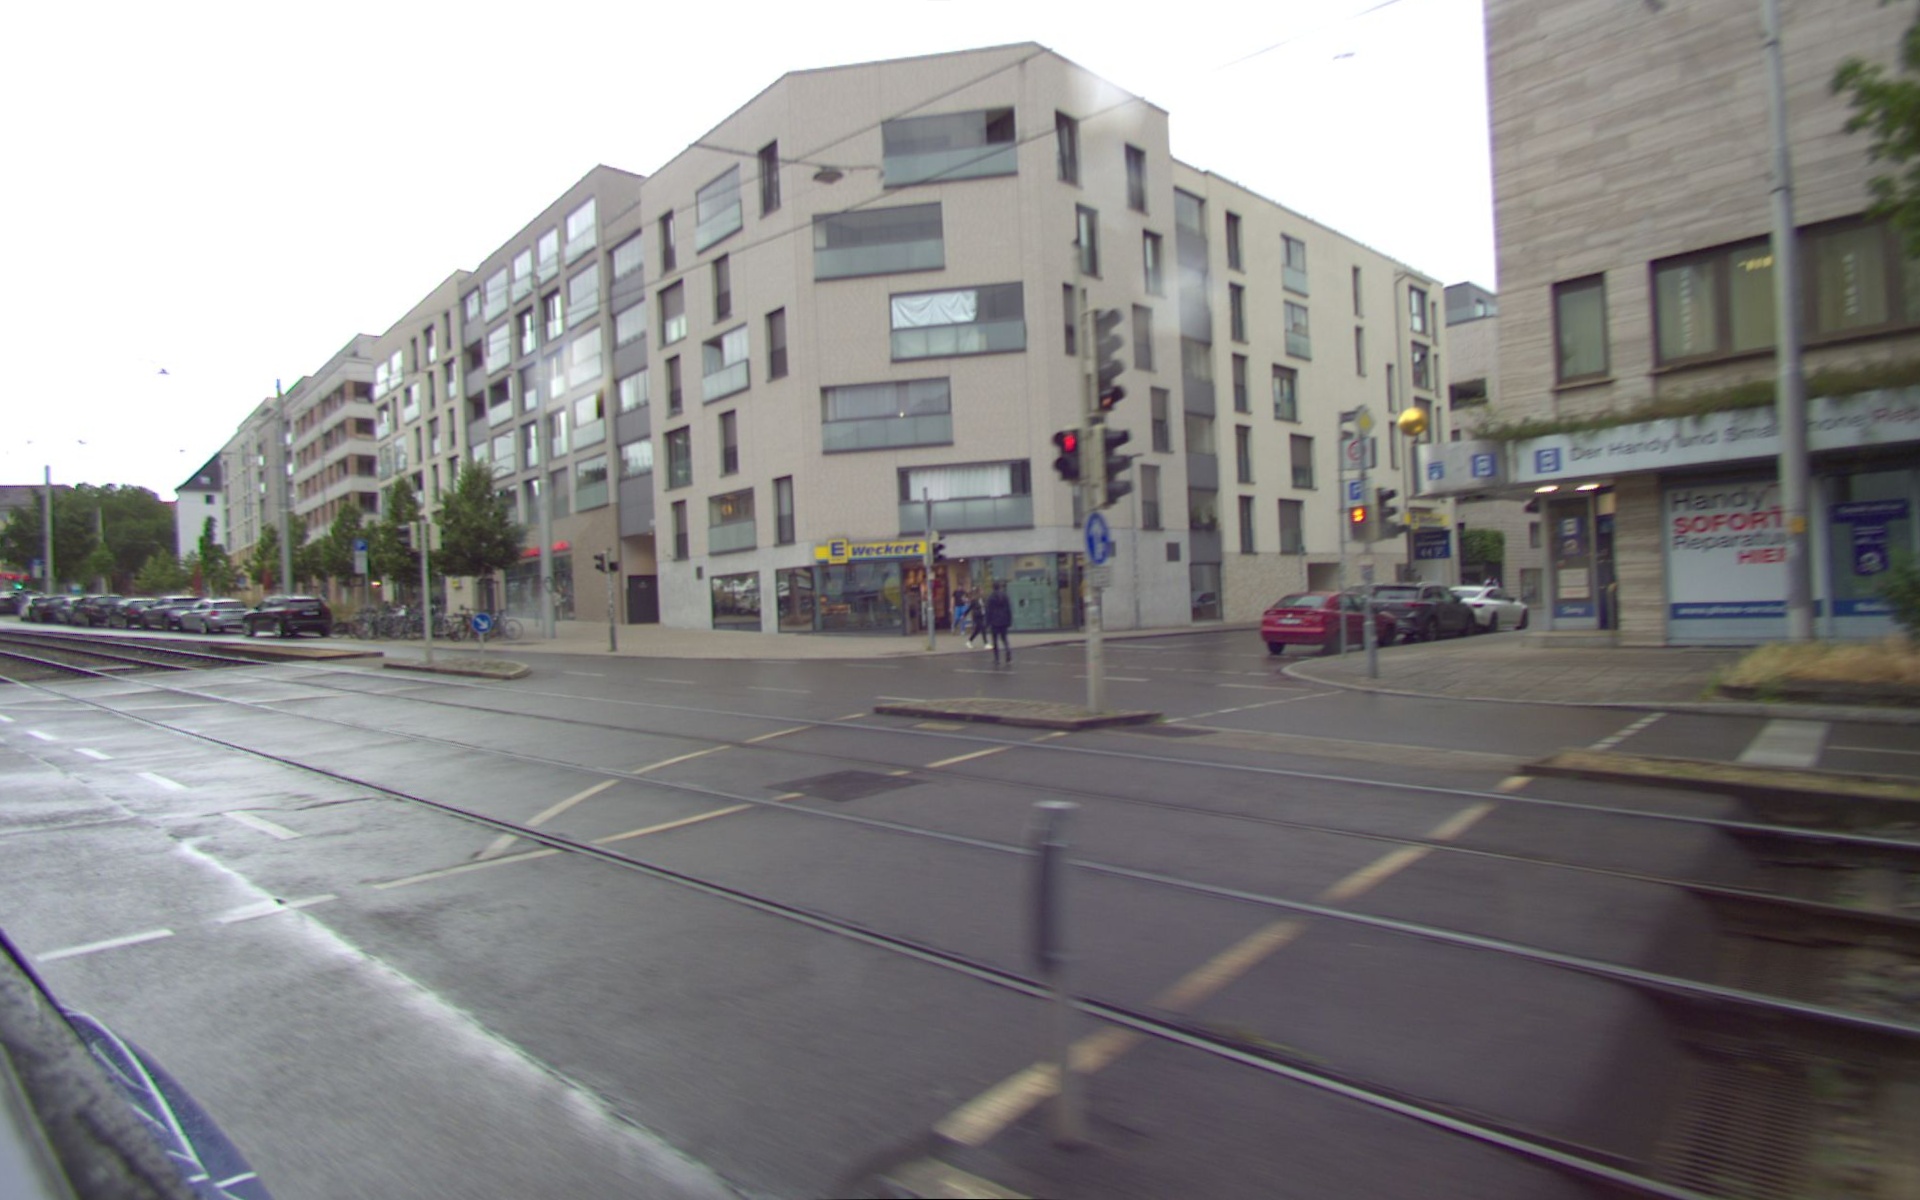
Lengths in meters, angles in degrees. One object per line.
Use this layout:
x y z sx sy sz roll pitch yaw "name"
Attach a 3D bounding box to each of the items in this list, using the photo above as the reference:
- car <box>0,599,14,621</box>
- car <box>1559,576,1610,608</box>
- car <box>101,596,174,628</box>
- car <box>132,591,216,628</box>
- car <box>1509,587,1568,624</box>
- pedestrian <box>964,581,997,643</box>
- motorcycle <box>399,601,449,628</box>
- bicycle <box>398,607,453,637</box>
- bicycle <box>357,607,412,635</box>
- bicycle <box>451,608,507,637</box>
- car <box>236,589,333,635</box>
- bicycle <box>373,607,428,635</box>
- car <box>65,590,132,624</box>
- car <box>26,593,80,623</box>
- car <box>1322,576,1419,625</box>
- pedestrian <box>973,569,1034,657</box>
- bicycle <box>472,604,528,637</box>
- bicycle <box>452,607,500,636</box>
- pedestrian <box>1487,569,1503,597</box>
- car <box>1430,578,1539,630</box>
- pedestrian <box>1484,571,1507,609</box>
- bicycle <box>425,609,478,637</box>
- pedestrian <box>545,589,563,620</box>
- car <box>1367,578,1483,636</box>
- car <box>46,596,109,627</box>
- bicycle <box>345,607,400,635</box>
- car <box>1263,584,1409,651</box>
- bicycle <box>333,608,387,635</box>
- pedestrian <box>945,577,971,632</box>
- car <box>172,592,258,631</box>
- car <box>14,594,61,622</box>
-70.202 0.747 73.774 3.672 1.474 1.632 2 5 45 "car"
36.861 -0.512 59.702 1.801 1.607 3.945 2 5 43 "car"
-39.852 0.544 49.015 4.024 1.391 1.666 1 3 35 "car"
-35.963 0.422 46.305 4.035 1.541 1.668 1 3 31 "car"
27.575 0.228 48.204 1.567 1.431 3.562 2 5 45 "car"
0.540 0.307 26.964 0.768 1.580 0.647 -1 4 9 "pedestrian"
-21.599 0.574 40.784 0.541 1.050 1.745 2 2 32 "motorcycle"
-19.005 0.773 36.011 0.386 0.924 1.770 1 3 31 "bicycle"
-20.982 0.768 36.905 0.386 0.924 1.770 1 2 31 "bicycle"
-16.550 0.756 34.866 0.386 0.882 1.769 1 3 33 "bicycle"
-26.467 0.414 39.617 4.320 1.615 1.666 1 3 35 "car"
-20.162 0.742 36.511 0.386 0.924 1.770 1 2 31 "bicycle"
-44.153 0.326 51.842 3.920 1.575 1.666 1 3 35 "car"
-51.817 0.430 57.779 4.402 1.516 1.663 1 3 41 "car"
16.087 -0.027 39.565 3.939 1.607 2.003 -5 5 -42 "car"
0.945 0.253 21.844 0.958 1.843 0.921 1 1 38 "pedestrian"
-15.554 0.679 34.271 0.439 0.987 1.771 1 4 31 "bicycle"
-17.014 0.744 35.602 0.384 0.924 1.779 0 3 18 "bicycle"
30.630 -0.980 57.963 0.532 1.599 0.664 -5 5 -42 "pedestrian"
15.629 0.072 30.051 4.436 1.327 1.595 -3 3 -45 "car"
28.215 -0.526 53.329 0.846 1.963 0.817 -5 5 -44 "pedestrian"
-18.015 0.809 35.898 0.385 0.924 1.773 0 2 27 "bicycle"
-19.450 0.204 48.479 0.532 1.459 0.804 -5 5 -42 "pedestrian"
12.276 0.127 26.639 3.651 1.327 1.595 -3 3 -45 "car"
-47.878 0.577 54.904 3.920 1.516 1.666 1 3 35 "car"
-21.811 0.778 37.616 0.386 0.924 1.770 1 2 31 "bicycle"
8.678 0.343 23.257 3.648 1.327 1.596 -2 3 -41 "car"
-22.544 0.799 38.051 0.386 0.924 1.770 1 3 31 "bicycle"
-0.061 0.132 32.697 0.581 1.723 0.700 0 2 22 "pedestrian"
-31.964 0.472 43.398 4.320 1.475 1.666 1 3 35 "car"
-55.843 0.451 61.244 3.779 1.516 1.629 1 4 41 "car"
